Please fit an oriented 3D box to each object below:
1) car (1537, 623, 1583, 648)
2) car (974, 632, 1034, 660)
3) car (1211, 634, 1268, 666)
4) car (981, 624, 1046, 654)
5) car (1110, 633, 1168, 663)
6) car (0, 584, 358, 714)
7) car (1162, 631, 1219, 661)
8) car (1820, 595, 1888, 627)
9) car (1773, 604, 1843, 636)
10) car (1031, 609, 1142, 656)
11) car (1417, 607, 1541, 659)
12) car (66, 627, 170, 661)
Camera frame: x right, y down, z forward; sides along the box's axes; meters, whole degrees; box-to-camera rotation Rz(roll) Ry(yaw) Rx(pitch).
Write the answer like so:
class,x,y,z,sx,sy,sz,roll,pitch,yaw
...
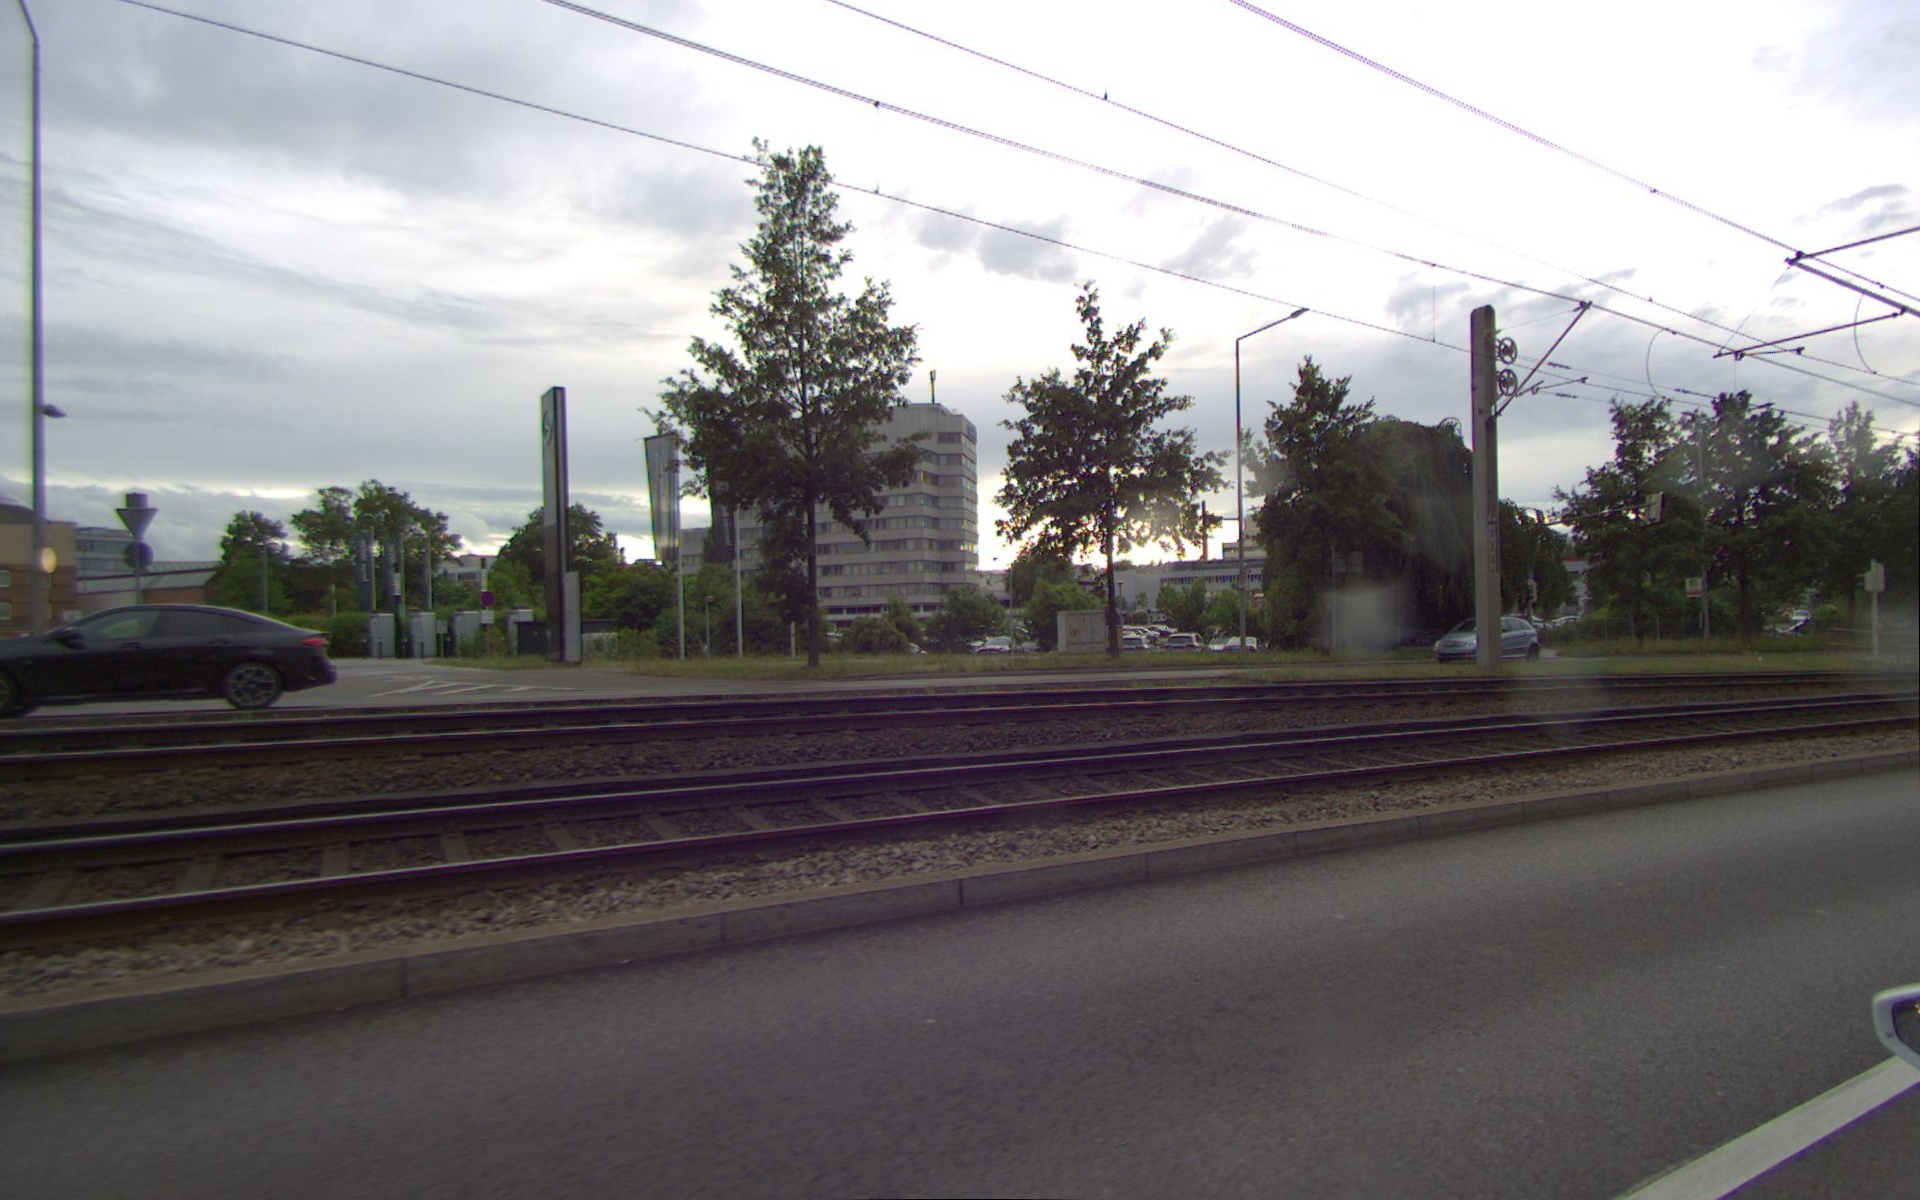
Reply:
class,x,y,z,sx,sy,sz,roll,pitch,yaw
car,36.735,2.192,61.578,1.962,1.433,3.997,2,-1,25
car,2.605,2.674,58.840,1.727,1.514,3.990,2,-1,33
car,14.478,2.560,51.873,1.964,1.530,3.994,2,-1,28
car,2.983,2.147,55.216,1.964,1.530,3.994,2,-1,28
car,9.870,2.636,55.210,1.727,1.514,3.990,2,-1,33
car,-10.686,0.675,13.518,4.357,1.540,1.872,1,-5,-34
car,12.416,2.471,53.998,1.727,1.514,3.990,2,-1,33
car,62.876,0.782,70.640,3.941,2.040,1.990,2,-1,-21
car,58.043,1.356,68.748,3.941,2.040,1.990,2,-1,-21
car,4.988,1.274,39.537,3.955,1.672,1.983,3,-1,-31
car,18.126,1.127,35.055,3.951,1.702,1.985,1,0,-29
car,-47.674,2.496,56.950,1.963,1.750,3.996,2,-1,26
